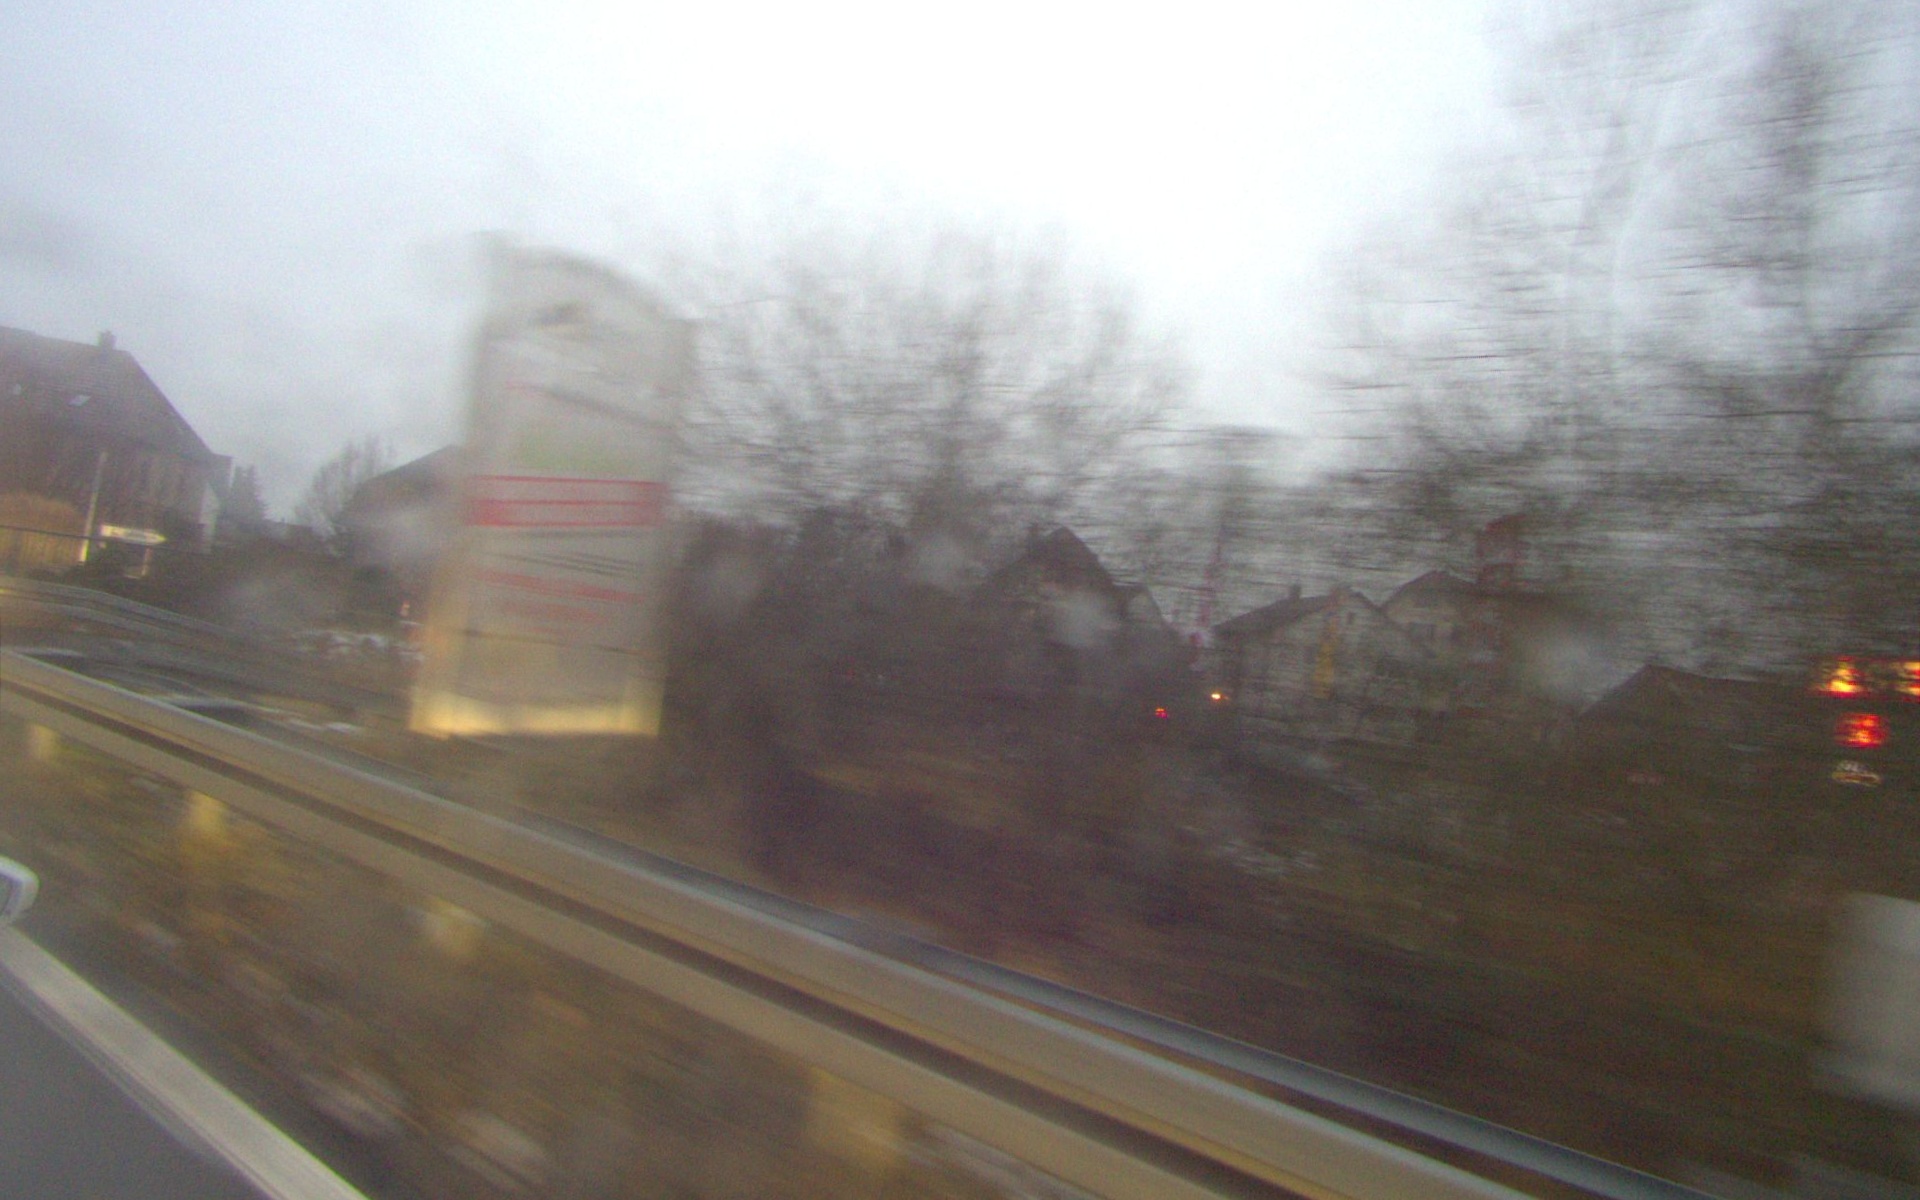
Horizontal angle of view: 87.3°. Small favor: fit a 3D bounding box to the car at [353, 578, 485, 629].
[{"bbox_3d":[-27.369,0.213,51.074,5.240,1.886,2.366,8,-2,-8],"label":"car"}]
